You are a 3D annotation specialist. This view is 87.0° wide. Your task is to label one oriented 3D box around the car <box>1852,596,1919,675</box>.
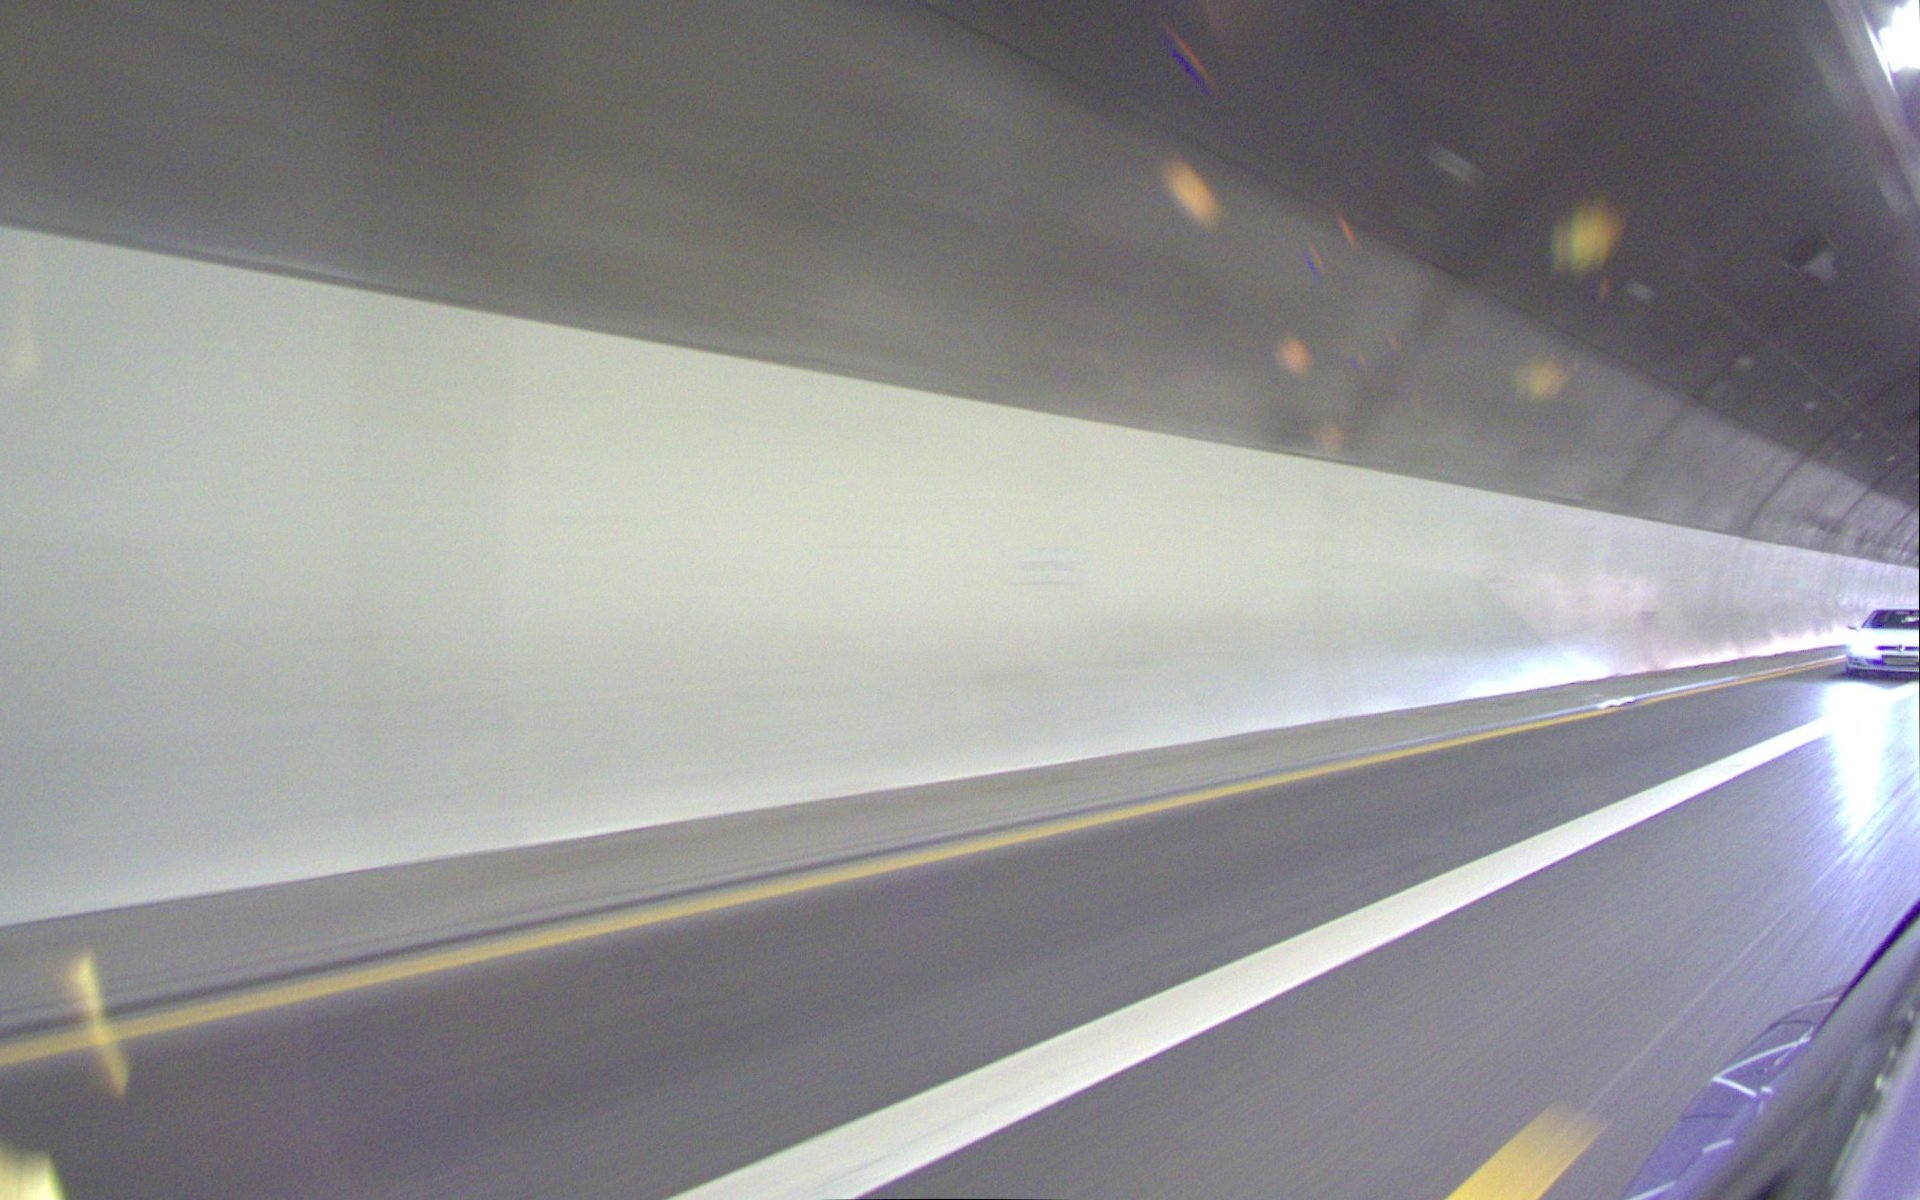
[{"bbox_3d":[19.375,0.656,20.219,3.963,1.479,1.800,0,0,-41],"label":"car"}]
